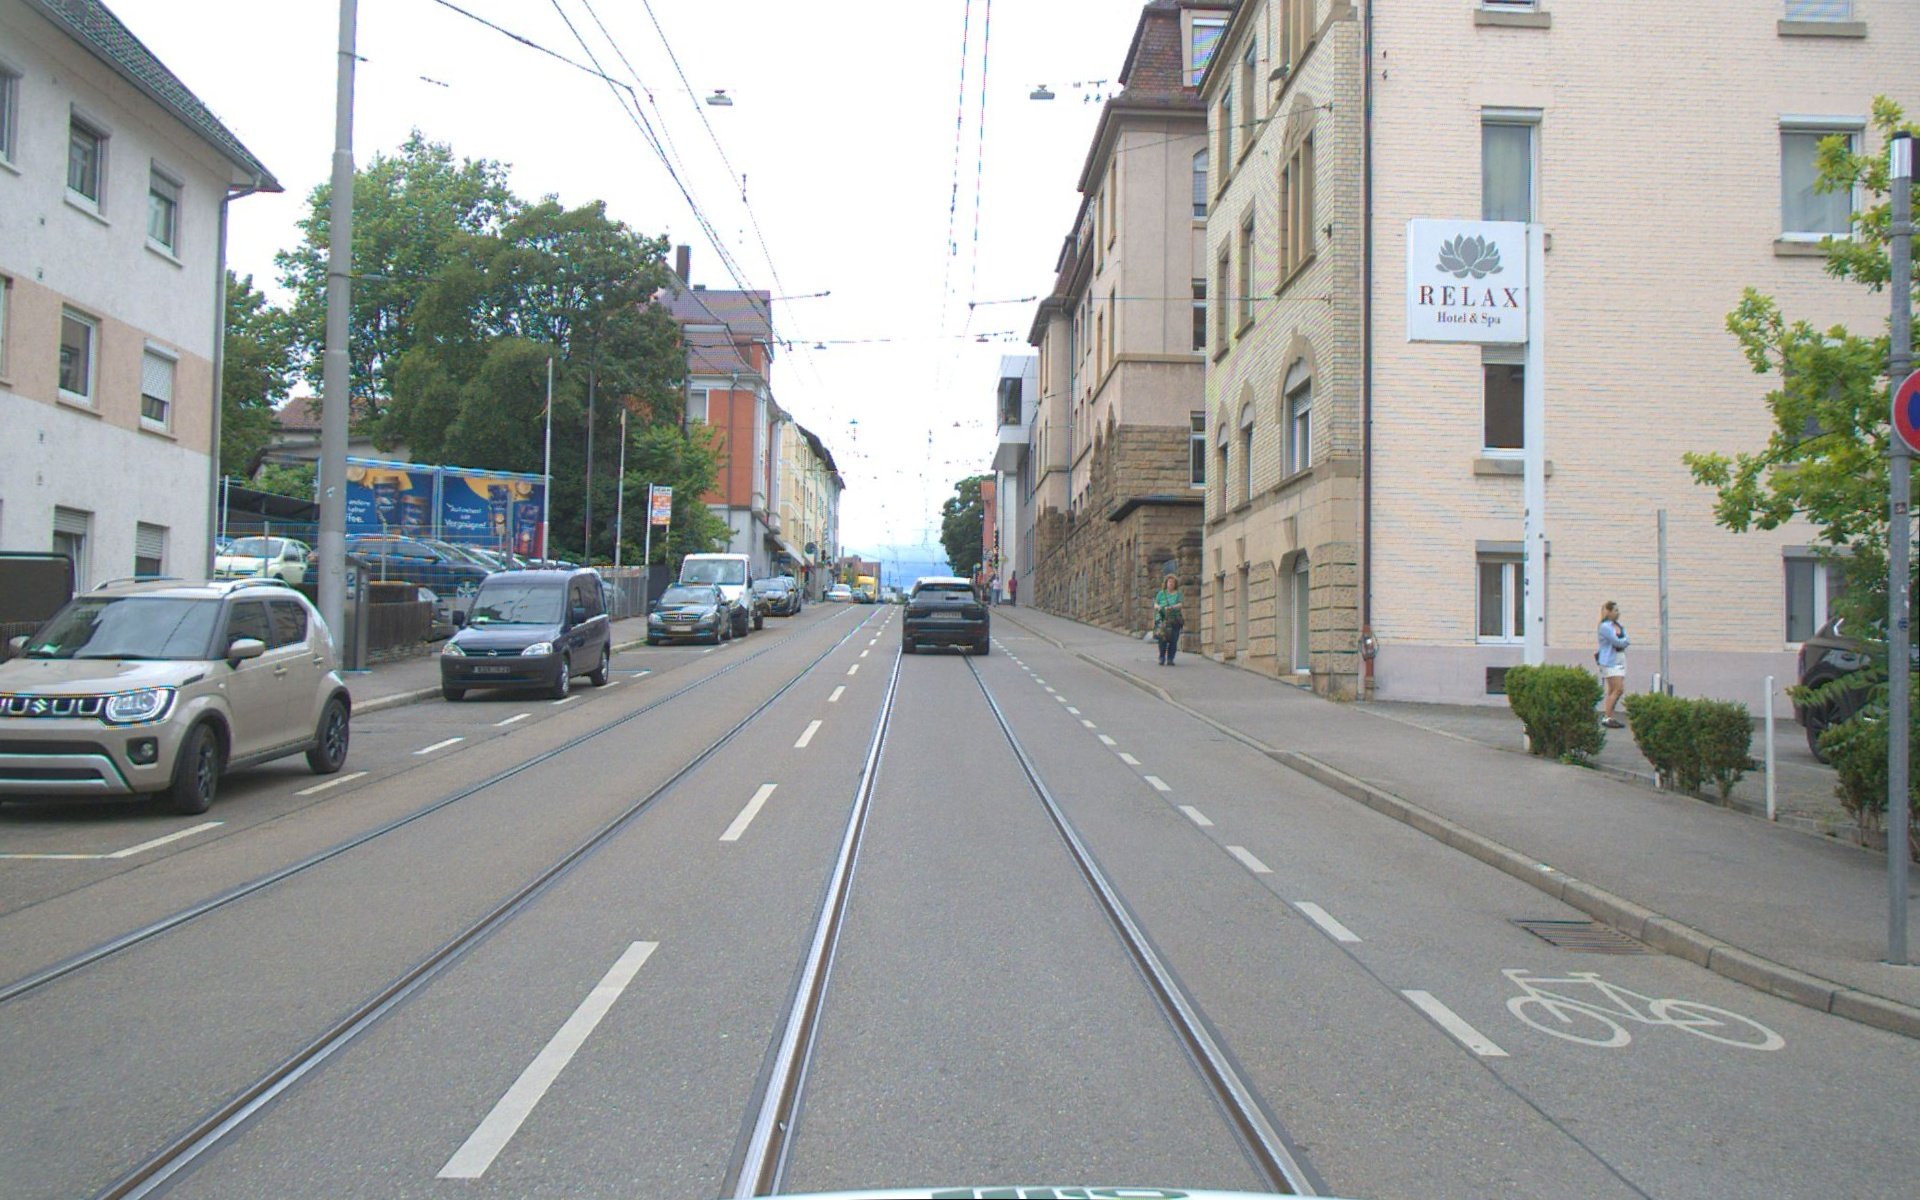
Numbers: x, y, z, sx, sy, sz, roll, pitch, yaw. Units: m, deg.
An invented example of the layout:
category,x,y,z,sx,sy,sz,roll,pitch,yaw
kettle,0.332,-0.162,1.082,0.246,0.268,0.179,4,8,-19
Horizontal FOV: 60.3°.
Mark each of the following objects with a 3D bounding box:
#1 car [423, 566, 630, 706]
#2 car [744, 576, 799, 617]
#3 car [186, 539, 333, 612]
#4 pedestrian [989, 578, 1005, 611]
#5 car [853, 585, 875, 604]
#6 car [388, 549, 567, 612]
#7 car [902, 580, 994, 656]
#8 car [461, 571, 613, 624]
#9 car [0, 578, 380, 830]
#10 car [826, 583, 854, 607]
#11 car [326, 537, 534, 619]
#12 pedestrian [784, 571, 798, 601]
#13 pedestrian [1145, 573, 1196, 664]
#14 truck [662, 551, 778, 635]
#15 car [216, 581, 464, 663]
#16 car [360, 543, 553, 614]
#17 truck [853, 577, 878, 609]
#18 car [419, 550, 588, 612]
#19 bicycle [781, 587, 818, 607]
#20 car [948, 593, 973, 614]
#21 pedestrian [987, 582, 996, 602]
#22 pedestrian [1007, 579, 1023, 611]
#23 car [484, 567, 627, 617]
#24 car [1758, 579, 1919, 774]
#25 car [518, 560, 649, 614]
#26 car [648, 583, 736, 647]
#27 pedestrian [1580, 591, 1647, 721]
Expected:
category,x,y,z,sx,sy,sz,roll,pitch,yaw
car,-6.002,0.430,23.427,1.708,1.766,4.519,-1,1,0
car,-7.192,-0.152,63.419,1.677,1.472,4.289,1,1,-1
car,-15.740,-0.556,37.372,1.648,1.520,3.889,1,1,0
pedestrian,1.967,-0.296,87.853,0.775,1.696,0.799,1,0,1
car,-8.661,-0.466,149.214,1.817,1.635,4.296,1,1,-2
car,-12.029,-0.496,41.415,3.978,1.470,1.687,1,1,-2
car,-0.290,0.358,37.644,1.953,1.590,4.289,1,1,-1
car,-11.784,-0.085,46.233,3.798,1.381,1.687,1,1,-2
car,-5.890,0.638,12.466,1.662,1.583,3.850,1,1,0
car,-8.448,-0.373,116.700,1.817,1.635,4.296,1,1,-2
car,-11.645,-0.492,36.521,3.979,1.579,1.687,3,1,-2
pedestrian,-10.203,-0.849,99.833,0.759,1.807,0.650,1,0,-1
pedestrian,4.028,0.343,31.722,0.853,1.715,0.663,-1,0,-3
truck,-6.858,-0.237,48.201,2.234,2.226,8.024,1,1,0
car,-12.487,0.418,33.528,4.252,1.369,1.860,-3,1,-2
car,-11.815,-0.497,38.990,3.978,1.550,1.738,1,1,-2
truck,-9.670,-0.720,169.410,2.256,3.089,9.031,1,0,-2
car,-12.056,-0.502,43.859,3.978,1.520,1.687,1,1,-2
bicycle,-8.419,-0.177,86.962,1.872,1.017,0.479,1,0,-1
car,0.059,0.264,135.159,1.953,1.590,4.289,1,1,-1
pedestrian,2.621,-0.661,138.228,0.775,1.696,0.799,1,0,1
pedestrian,2.917,-0.286,87.871,0.775,1.696,0.799,1,0,1
car,-11.939,-0.233,48.951,3.798,1.381,1.687,1,1,-2
car,9.406,0.693,14.677,1.954,1.712,5.092,1,1,-3
car,-11.756,-0.415,51.587,3.896,1.578,1.681,1,1,-16
car,-6.660,0.334,41.440,1.663,1.458,4.479,-1,1,-3
pedestrian,8.309,0.699,21.045,0.547,1.610,0.685,1,0,-1
